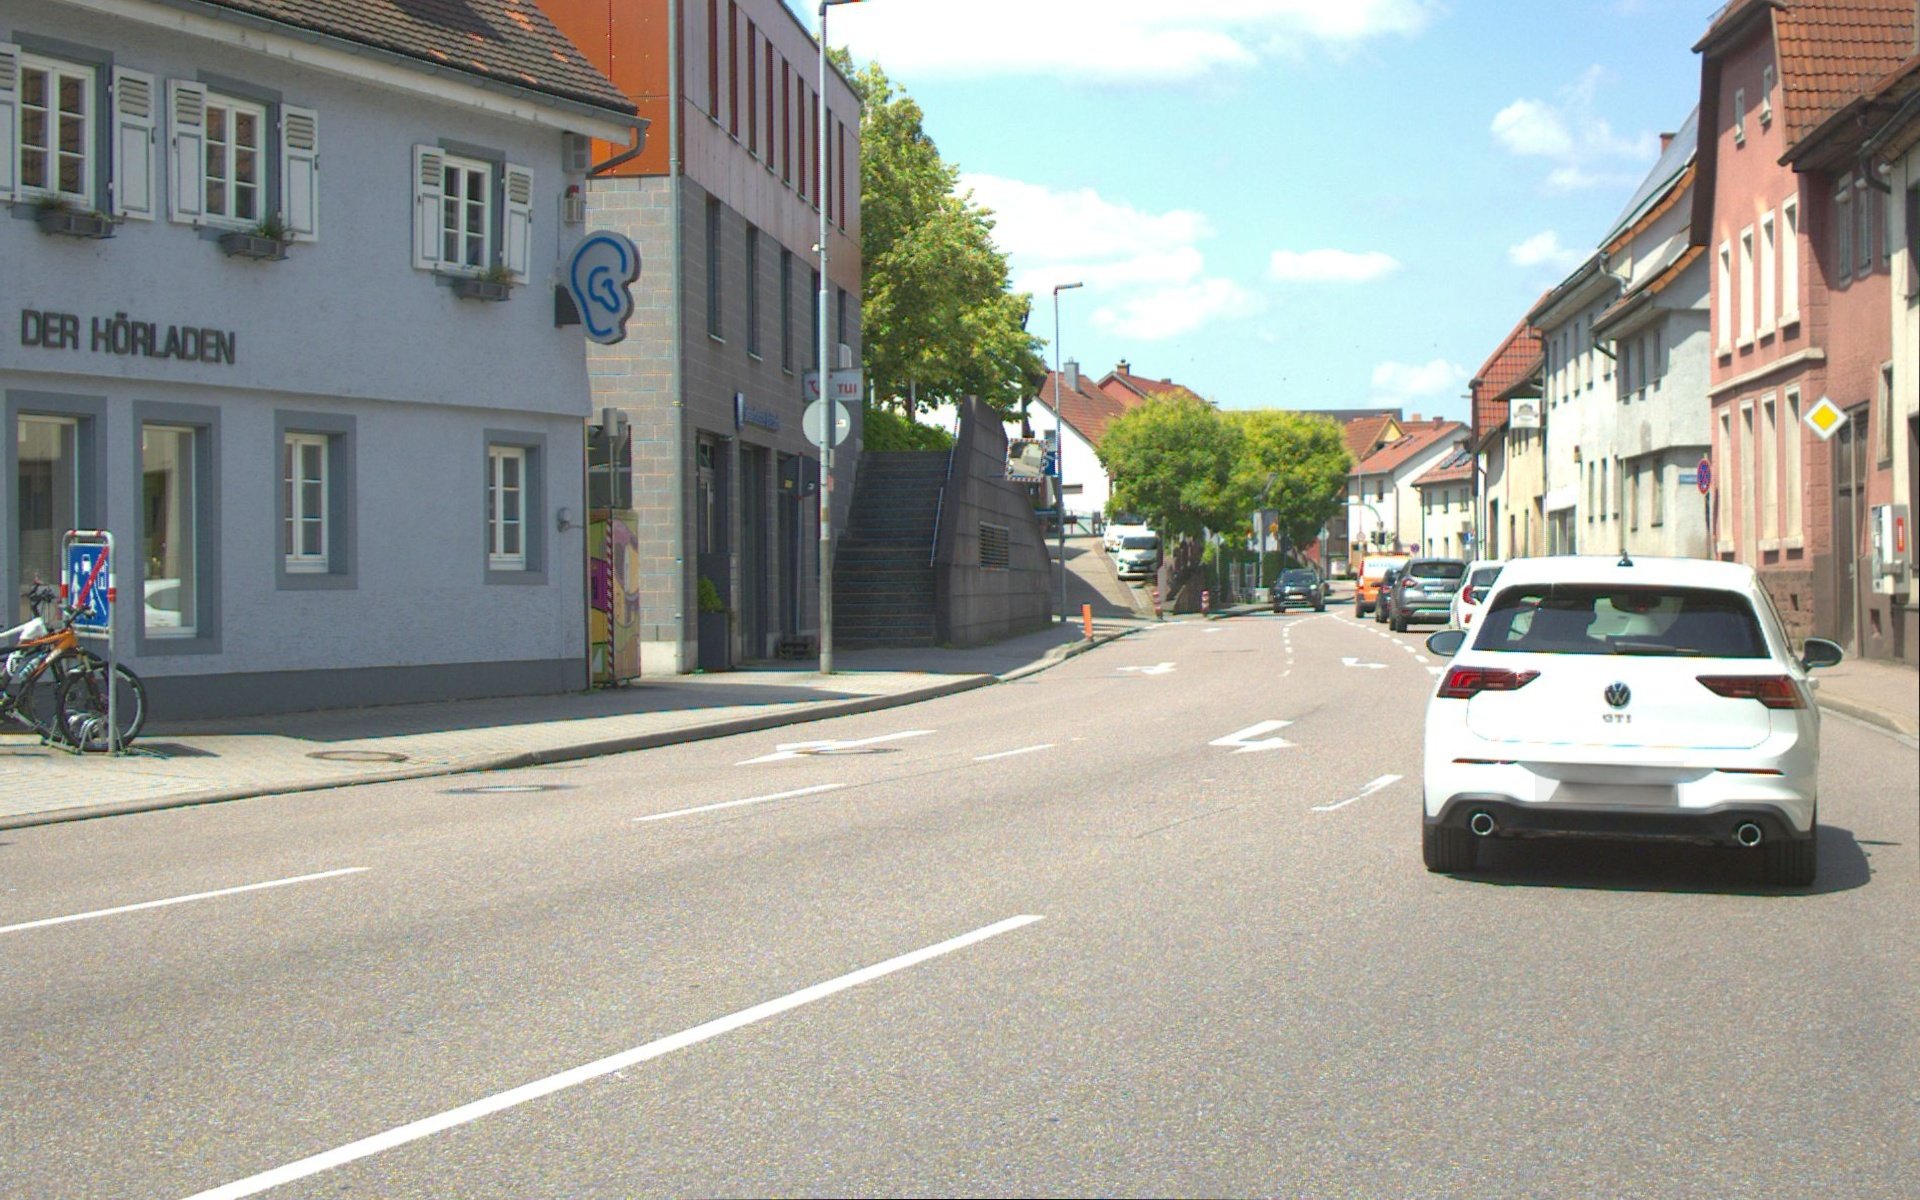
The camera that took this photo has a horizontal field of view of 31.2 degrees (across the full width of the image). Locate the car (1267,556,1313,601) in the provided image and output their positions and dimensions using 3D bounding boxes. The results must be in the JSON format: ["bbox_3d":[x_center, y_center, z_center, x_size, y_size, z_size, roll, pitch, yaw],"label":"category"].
[{"bbox_3d":[12.295,-0.812,128.108,1.670,1.652,4.017,0,1,5],"label":"car"}]

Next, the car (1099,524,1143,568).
[{"bbox_3d":[6.230,-2.086,132.666,1.577,1.357,3.856,0,6,4],"label":"car"}]

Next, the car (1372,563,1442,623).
[{"bbox_3d":[11.652,-0.207,89.824,1.776,1.533,3.999,0,1,7],"label":"car"}]

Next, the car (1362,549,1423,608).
[{"bbox_3d":[13.214,-0.670,105.145,1.776,1.759,3.999,0,1,6],"label":"car"}]

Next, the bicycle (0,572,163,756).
[{"bbox_3d":[-6.585,0.440,24.064,1.825,1.245,0.579,1,3,-30],"label":"bicycle"}]

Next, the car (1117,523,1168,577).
[{"bbox_3d":[6.446,-1.788,121.244,1.694,1.537,3.856,0,6,4],"label":"car"}]

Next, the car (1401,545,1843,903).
[{"bbox_3d":[3.178,0.517,16.587,1.808,1.462,3.998,2,0,11],"label":"car"}]

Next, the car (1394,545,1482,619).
[{"bbox_3d":[10.148,-0.390,73.156,1.776,1.533,3.999,0,1,7],"label":"car"}]

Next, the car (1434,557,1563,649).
[{"bbox_3d":[9.075,0.042,58.180,1.808,1.462,3.999,2,0,4],"label":"car"}]

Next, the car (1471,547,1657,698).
[{"bbox_3d":[6.371,0.220,36.538,1.808,1.462,3.998,2,0,9],"label":"car"}]

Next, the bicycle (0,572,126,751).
[{"bbox_3d":[-6.970,0.429,24.592,1.825,1.245,0.579,1,3,-30],"label":"bicycle"}]
